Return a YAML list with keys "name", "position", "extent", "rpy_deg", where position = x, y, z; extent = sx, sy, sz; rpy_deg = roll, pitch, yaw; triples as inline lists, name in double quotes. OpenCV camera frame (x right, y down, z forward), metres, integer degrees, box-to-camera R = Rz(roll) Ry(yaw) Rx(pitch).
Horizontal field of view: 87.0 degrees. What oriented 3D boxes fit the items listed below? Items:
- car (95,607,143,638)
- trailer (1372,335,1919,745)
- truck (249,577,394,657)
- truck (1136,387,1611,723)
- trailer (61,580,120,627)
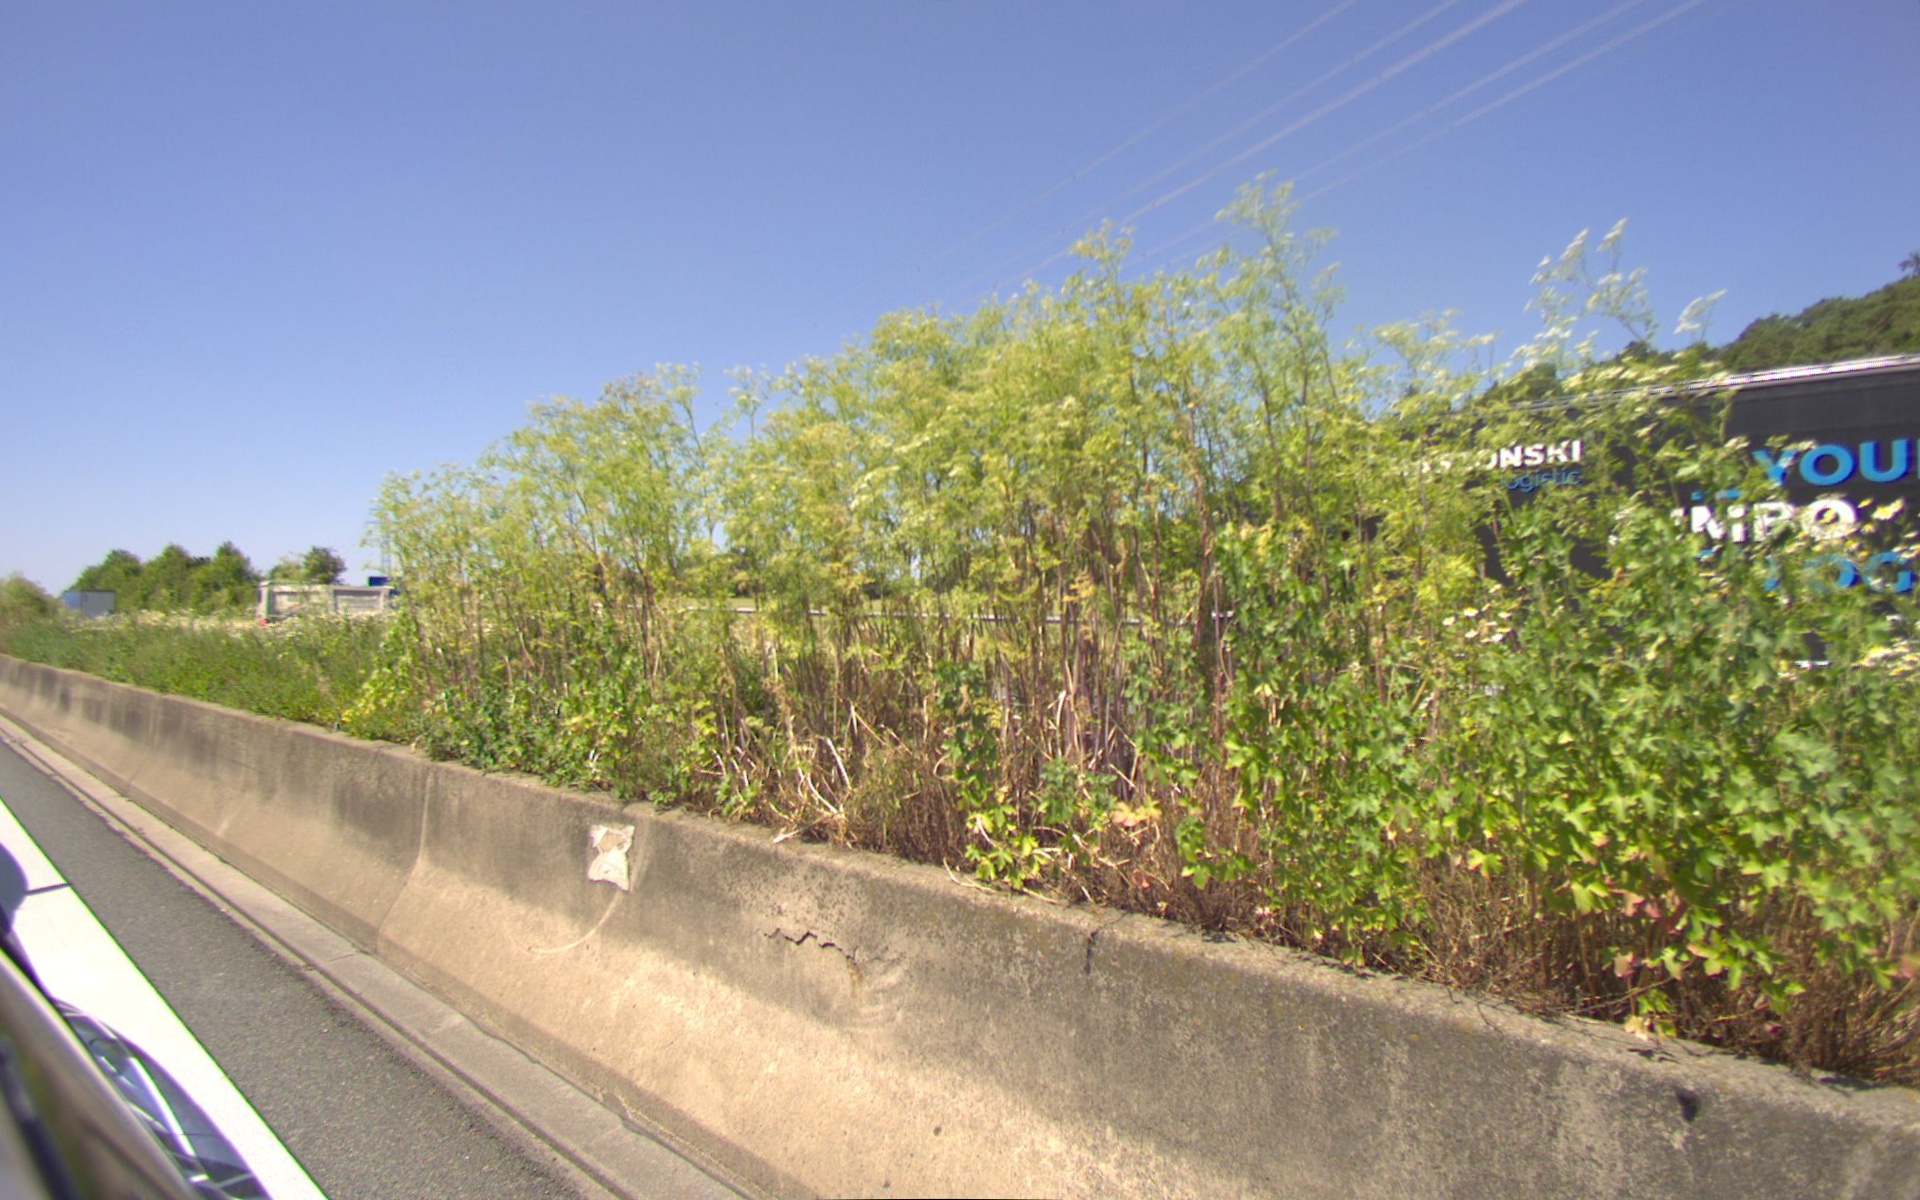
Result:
- name: "car"
  position: [-50.216, 1.342, 60.396]
  extent: [4.024, 1.801, 1.588]
  rpy_deg: [-1, -1, 41]
- name: "trailer"
  position: [9.108, -0.531, 11.181]
  extent: [7.866, 3.787, 3.092]
  rpy_deg: [-1, -1, 41]
- name: "truck"
  position: [-29.710, 0.796, 46.780]
  extent: [11.819, 3.313, 2.735]
  rpy_deg: [-1, -1, 43]
- name: "truck"
  position: [5.636, -0.454, 14.183]
  extent: [5.460, 3.738, 3.039]
  rpy_deg: [-1, -1, 41]
- name: "trailer"
  position: [-82.942, 0.375, 96.418]
  extent: [10.980, 4.260, 2.979]
  rpy_deg: [-1, -1, 43]
